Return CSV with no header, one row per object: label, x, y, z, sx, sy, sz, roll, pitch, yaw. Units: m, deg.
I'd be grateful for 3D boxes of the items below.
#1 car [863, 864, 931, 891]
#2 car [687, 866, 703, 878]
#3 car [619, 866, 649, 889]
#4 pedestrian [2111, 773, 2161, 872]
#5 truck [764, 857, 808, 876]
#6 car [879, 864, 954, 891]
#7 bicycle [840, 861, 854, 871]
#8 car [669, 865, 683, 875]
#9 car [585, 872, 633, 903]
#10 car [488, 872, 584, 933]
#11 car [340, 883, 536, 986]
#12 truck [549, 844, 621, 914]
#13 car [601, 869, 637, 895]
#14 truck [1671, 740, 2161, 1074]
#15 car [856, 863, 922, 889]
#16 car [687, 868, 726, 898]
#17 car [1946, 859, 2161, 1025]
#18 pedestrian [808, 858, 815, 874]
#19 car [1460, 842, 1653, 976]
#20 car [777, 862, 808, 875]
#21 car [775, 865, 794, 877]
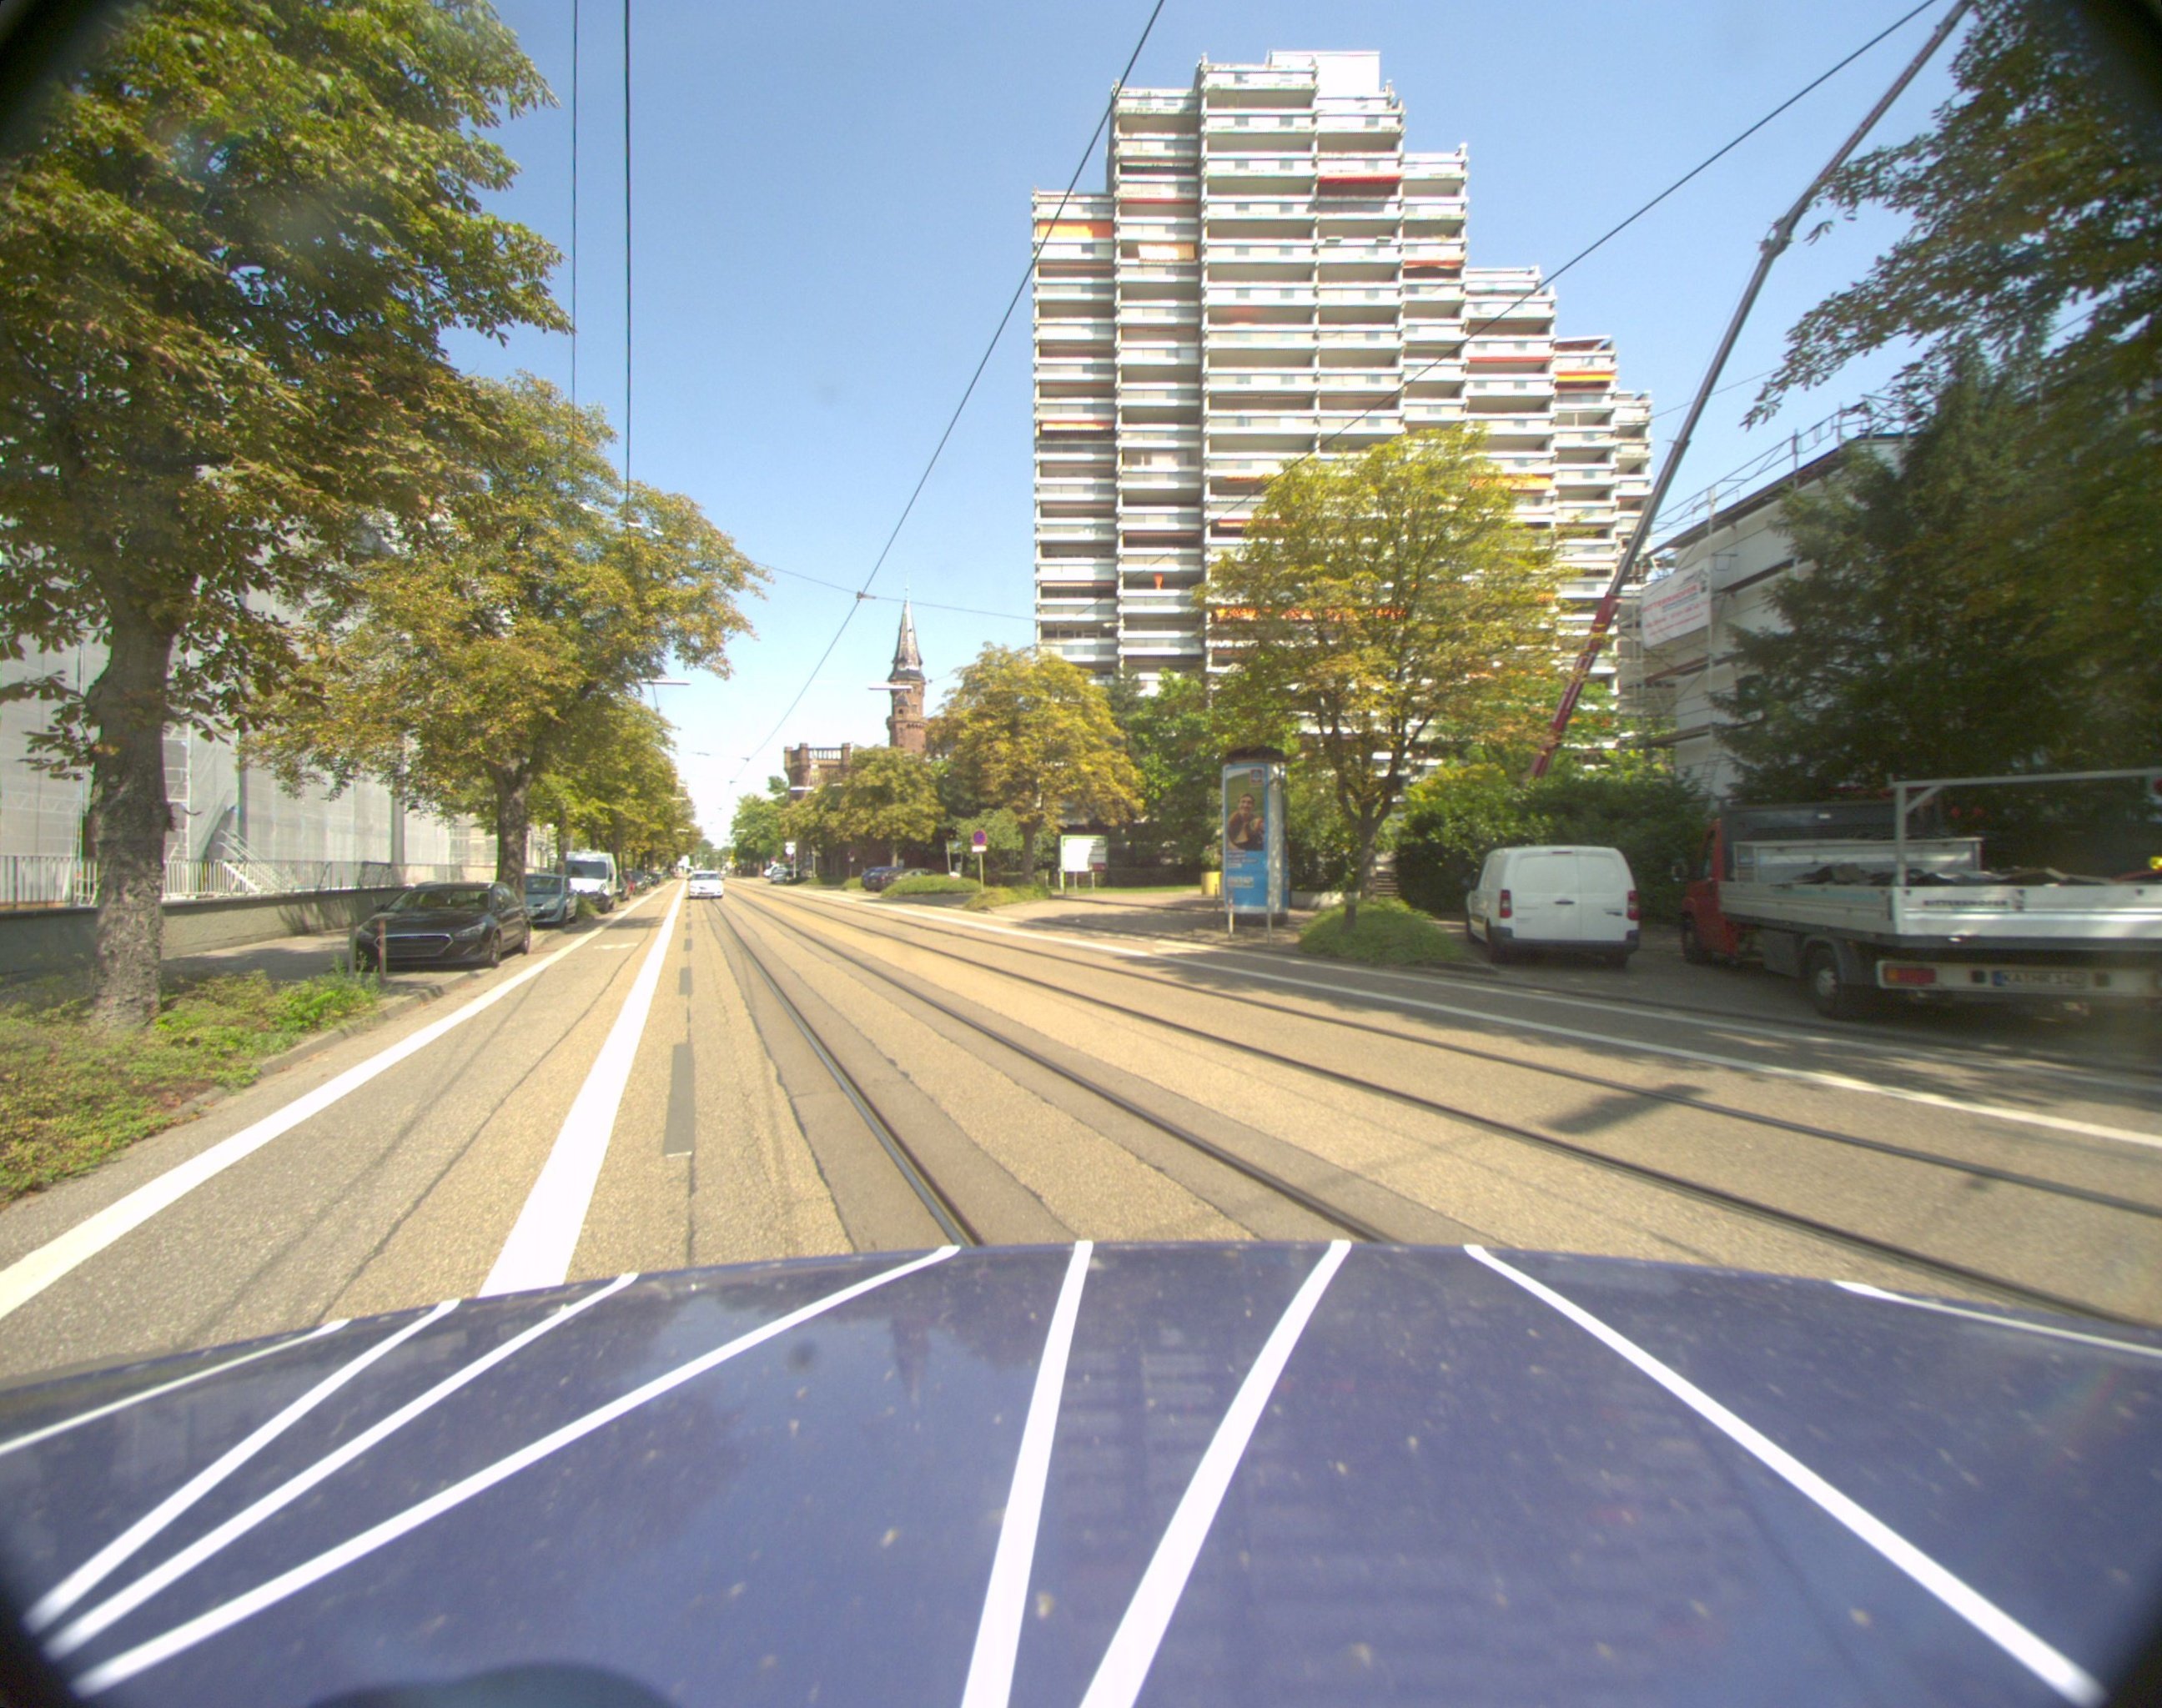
car,-11.763,1.471,48.819,1.775,1.560,4.008,-1,0,37
car,-47.215,2.190,93.054,1.681,1.477,3.770,0,0,-26
car,-34.573,1.779,58.828,1.770,1.678,4.639,-1,0,-28
pedestrian,19.671,-0.560,13.822,0.740,1.776,0.830,0,0,1
truck,-49.757,2.093,128.107,6.522,2.510,2.312,-5,2,-26
car,-9.956,1.415,46.348,1.775,1.488,4.305,-1,0,37
bicycle,-28.003,1.377,90.760,1.451,1.056,0.376,-7,3,-36
car,-69.697,2.754,130.859,2.003,1.521,3.992,-1,0,-26
car,-24.999,1.714,40.389,1.693,1.432,4.793,-1,0,-26
car,-16.153,1.372,22.725,1.682,1.570,4.162,1,-1,-27
car,-11.505,1.306,13.966,1.682,1.449,4.654,0,-1,-27
truck,-20.204,0.949,31.158,1.926,2.583,5.580,-1,0,-28
car,-30.136,1.790,49.619,1.693,1.491,4.123,-1,0,-27
truck,8.697,0.367,8.389,2.145,2.420,5.979,0,0,25
car,-13.045,1.501,51.877,1.836,1.638,4.008,-1,0,40
car,-20.308,1.538,41.229,1.828,1.483,4.010,0,0,-27
car,10.828,0.800,7.280,1.717,1.499,3.866,0,0,20
pedestrian,-33.486,1.517,94.380,0.504,1.969,0.520,-1,1,17
car,7.410,0.741,12.315,1.821,1.761,4.292,-1,0,21
car,-46.680,2.318,122.957,4.415,1.787,1.996,-5,2,-24
car,-36.096,2.040,92.408,1.944,1.493,4.505,-1,0,-24
